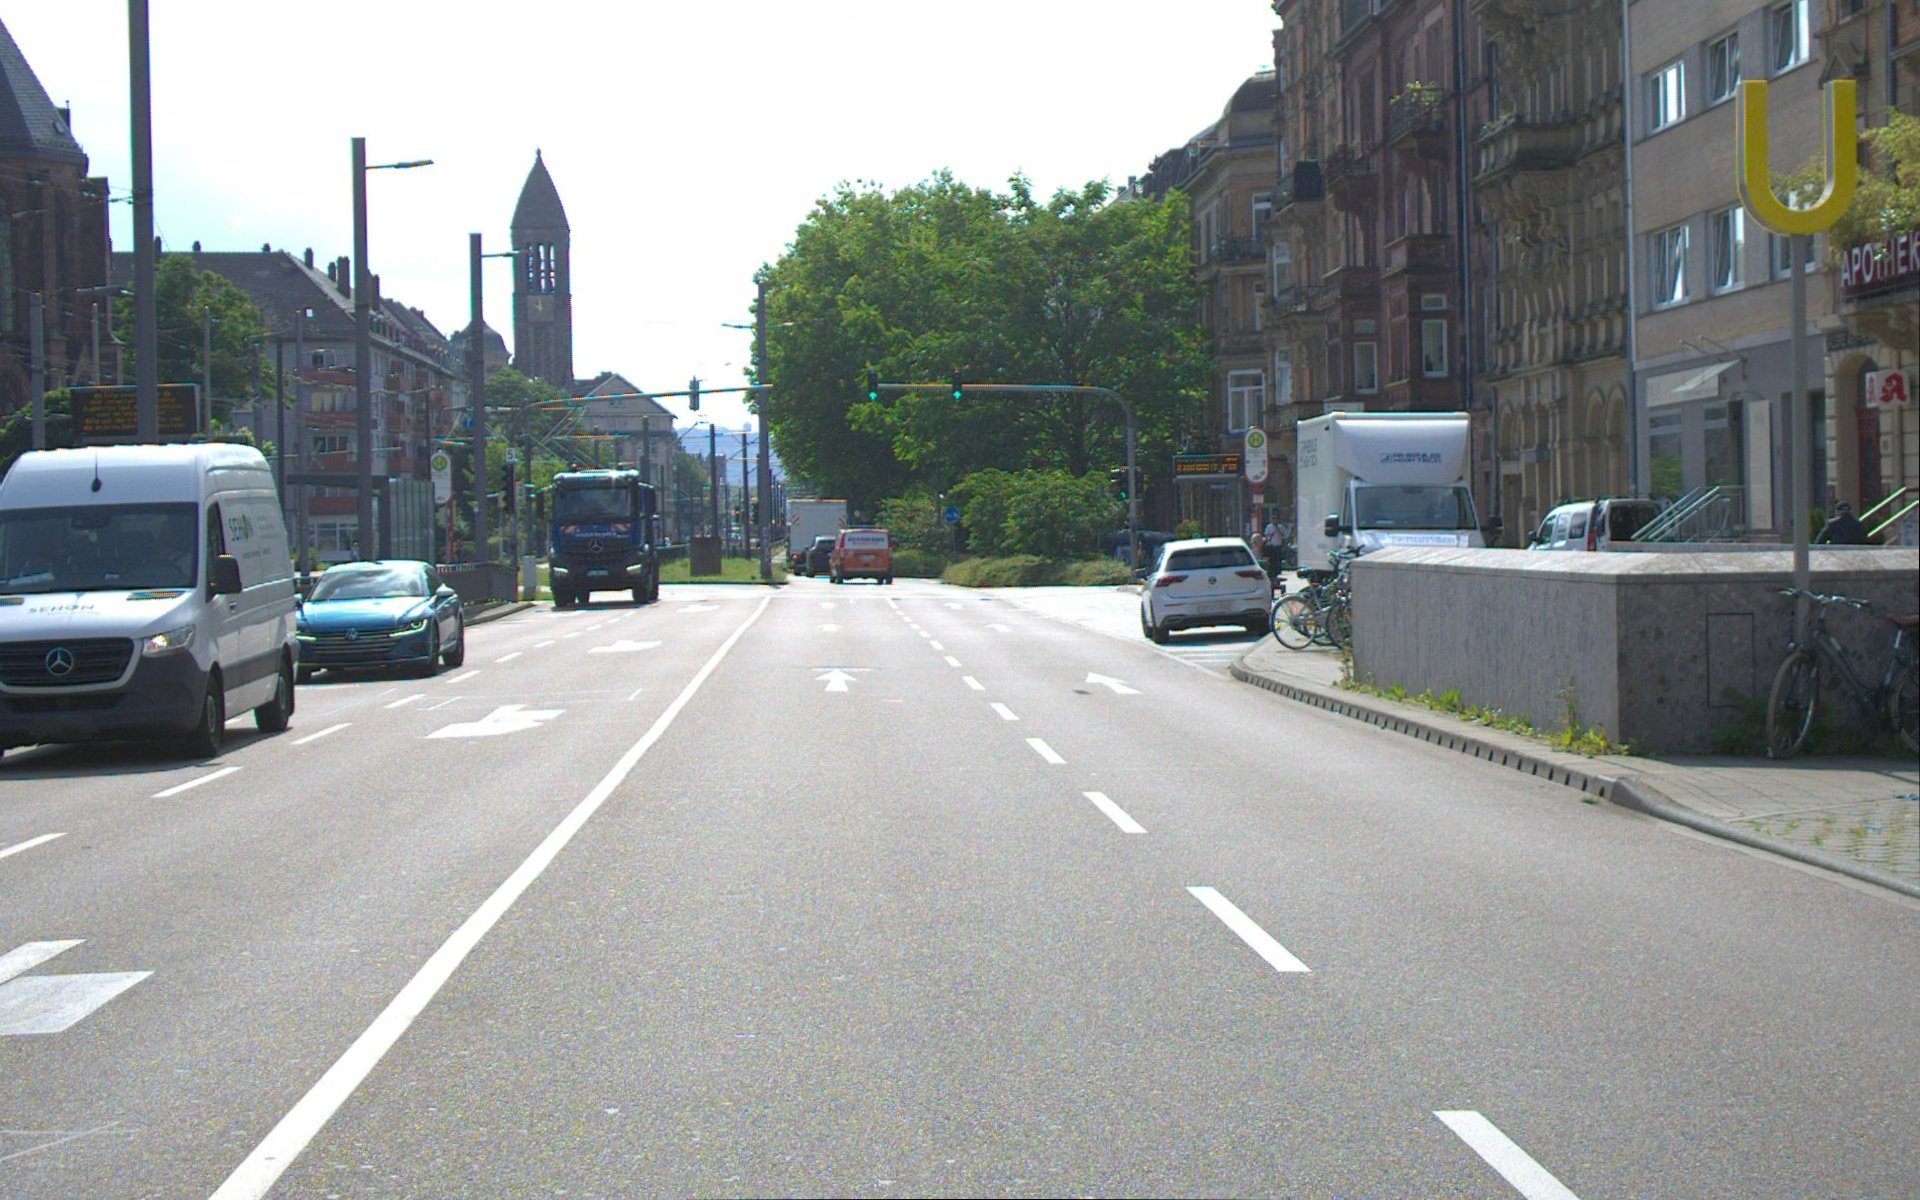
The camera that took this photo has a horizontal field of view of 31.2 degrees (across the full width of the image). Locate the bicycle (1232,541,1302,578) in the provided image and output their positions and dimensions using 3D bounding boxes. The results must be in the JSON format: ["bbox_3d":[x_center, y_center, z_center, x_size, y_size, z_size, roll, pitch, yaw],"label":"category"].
[{"bbox_3d":[10.058,-1.332,112.597,2.189,1.177,0.684,-1,1,-6],"label":"bicycle"}]

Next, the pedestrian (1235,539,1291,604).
[{"bbox_3d":[6.163,-0.582,69.904,0.742,1.311,0.821,1,0,-40],"label":"pedestrian"}]

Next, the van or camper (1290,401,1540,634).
[{"bbox_3d":[6.965,-1.227,53.652,2.712,3.319,7.640,-1,0,-1],"label":"van or camper"}]

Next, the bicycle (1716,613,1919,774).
[{"bbox_3d":[5.893,0.612,22.441,1.772,1.000,0.513,2,0,-7],"label":"bicycle"}]

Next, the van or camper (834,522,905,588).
[{"bbox_3d":[-3.091,-1.502,116.282,2.008,1.908,4.523,1,-3,-6],"label":"van or camper"}]

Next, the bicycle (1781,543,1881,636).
[{"bbox_3d":[11.021,-0.119,43.572,0.704,1.044,2.208,1,-3,0],"label":"bicycle"}]

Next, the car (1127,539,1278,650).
[{"bbox_3d":[3.543,-0.082,50.888,1.791,1.432,4.343,-5,0,-1],"label":"car"}]

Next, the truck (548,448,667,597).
[{"bbox_3d":[-9.013,-1.987,88.596,2.463,3.636,7.450,-1,1,-2],"label":"truck"}]

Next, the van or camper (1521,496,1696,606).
[{"bbox_3d":[12.183,-0.924,64.954,1.993,1.898,5.299,-3,1,-2],"label":"van or camper"}]

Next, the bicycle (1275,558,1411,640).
[{"bbox_3d":[5.115,-0.020,45.878,1.758,1.081,0.372,0,2,-8],"label":"bicycle"}]

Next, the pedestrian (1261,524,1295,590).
[{"bbox_3d":[9.753,-1.317,105.360,0.885,2.007,0.996,1,0,-2],"label":"pedestrian"}]

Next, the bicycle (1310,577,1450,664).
[{"bbox_3d":[5.402,0.260,44.210,1.758,1.081,0.372,0,2,-14],"label":"bicycle"}]

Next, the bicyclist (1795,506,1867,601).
[{"bbox_3d":[11.024,-0.584,43.517,0.708,1.144,0.813,1,-3,0],"label":"bicyclist"}]

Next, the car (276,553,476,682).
[{"bbox_3d":[-7.446,0.179,44.223,1.849,1.450,4.555,-2,1,-1],"label":"car"}]

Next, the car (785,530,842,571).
[{"bbox_3d":[-5.503,-1.867,128.816,1.993,1.503,4.001,-1,1,-4],"label":"car"}]

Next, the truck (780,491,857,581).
[{"bbox_3d":[-6.089,-2.728,148.938,3.169,3.275,7.295,0,-4,-1],"label":"truck"}]

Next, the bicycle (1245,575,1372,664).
[{"bbox_3d":[4.380,0.241,43.192,1.596,1.081,0.372,-1,2,-21],"label":"bicycle"}]

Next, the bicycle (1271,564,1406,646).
[{"bbox_3d":[5.095,0.065,46.278,1.758,1.081,0.372,0,2,-8],"label":"bicycle"}]

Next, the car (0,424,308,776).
[{"bbox_3d":[-6.926,-0.027,28.869,1.993,2.613,5.581,-2,1,-3],"label":"car"}]

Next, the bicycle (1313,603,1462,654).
[{"bbox_3d":[5.120,0.343,41.263,0.636,0.584,1.770,-2,1,-42],"label":"bicycle"}]
